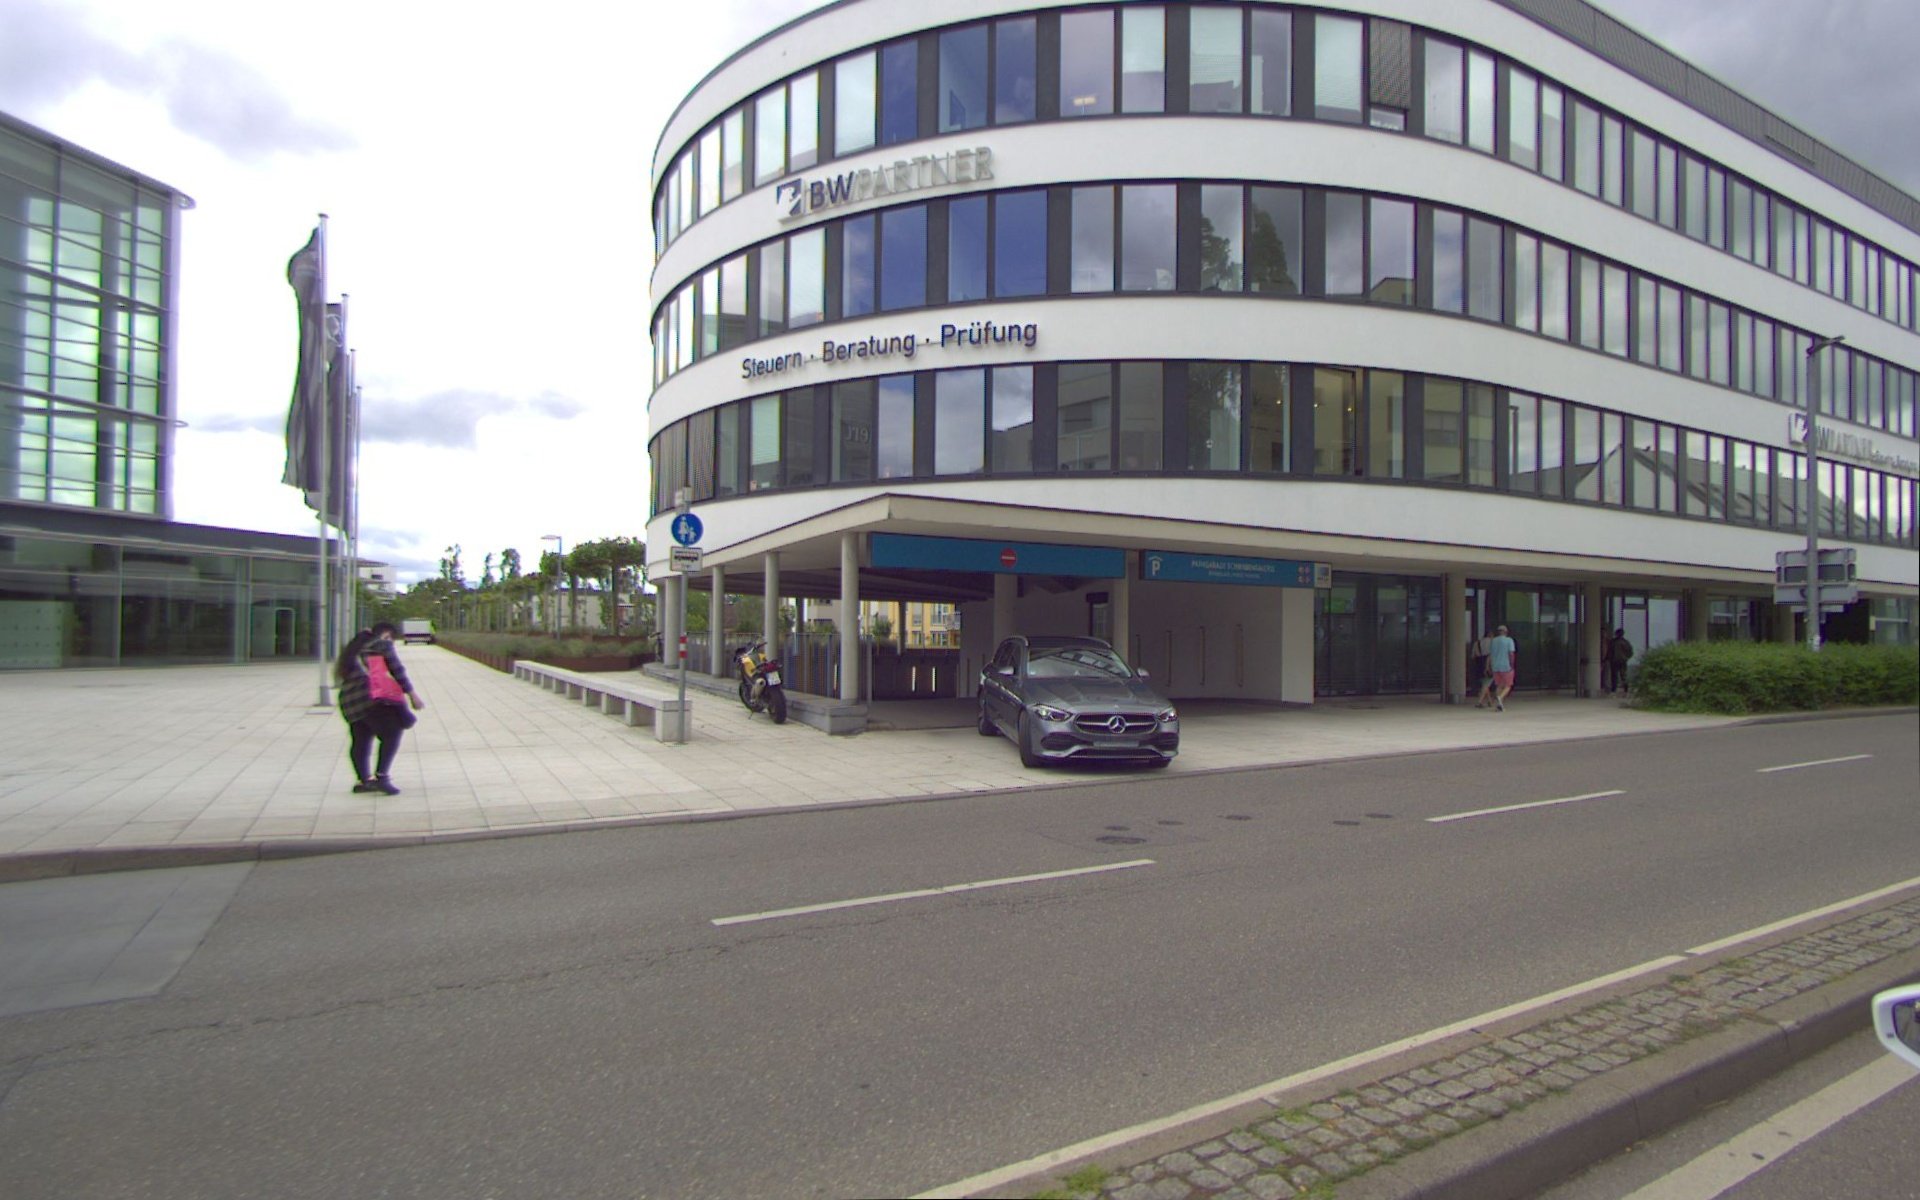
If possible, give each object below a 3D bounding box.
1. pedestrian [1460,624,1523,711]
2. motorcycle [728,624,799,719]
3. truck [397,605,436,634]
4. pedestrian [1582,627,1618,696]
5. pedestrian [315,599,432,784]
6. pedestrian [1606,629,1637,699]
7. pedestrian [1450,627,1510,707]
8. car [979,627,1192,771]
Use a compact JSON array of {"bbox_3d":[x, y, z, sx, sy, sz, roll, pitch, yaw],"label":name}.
[{"bbox_3d":[10.715,1.350,20.249,0.919,1.696,0.727,1,0,-28],"label":"pedestrian"},{"bbox_3d":[-3.114,1.077,15.778,0.627,1.350,1.848,1,0,-26],"label":"motorcycle"},{"bbox_3d":[-47.591,1.683,87.912,2.364,2.312,6.376,2,0,-34],"label":"truck"},{"bbox_3d":[16.588,1.587,26.030,0.603,1.752,0.506,1,-2,1],"label":"pedestrian"},{"bbox_3d":[-5.319,0.794,9.163,0.802,1.588,0.828,1,0,-24],"label":"pedestrian"},{"bbox_3d":[16.566,1.595,25.164,0.604,1.732,0.505,0,-2,30],"label":"pedestrian"},{"bbox_3d":[11.018,1.403,21.302,0.919,1.634,0.727,1,0,-28],"label":"pedestrian"},{"bbox_3d":[1.420,1.143,13.167,1.866,1.434,4.467,1,0,-5],"label":"car"}]
